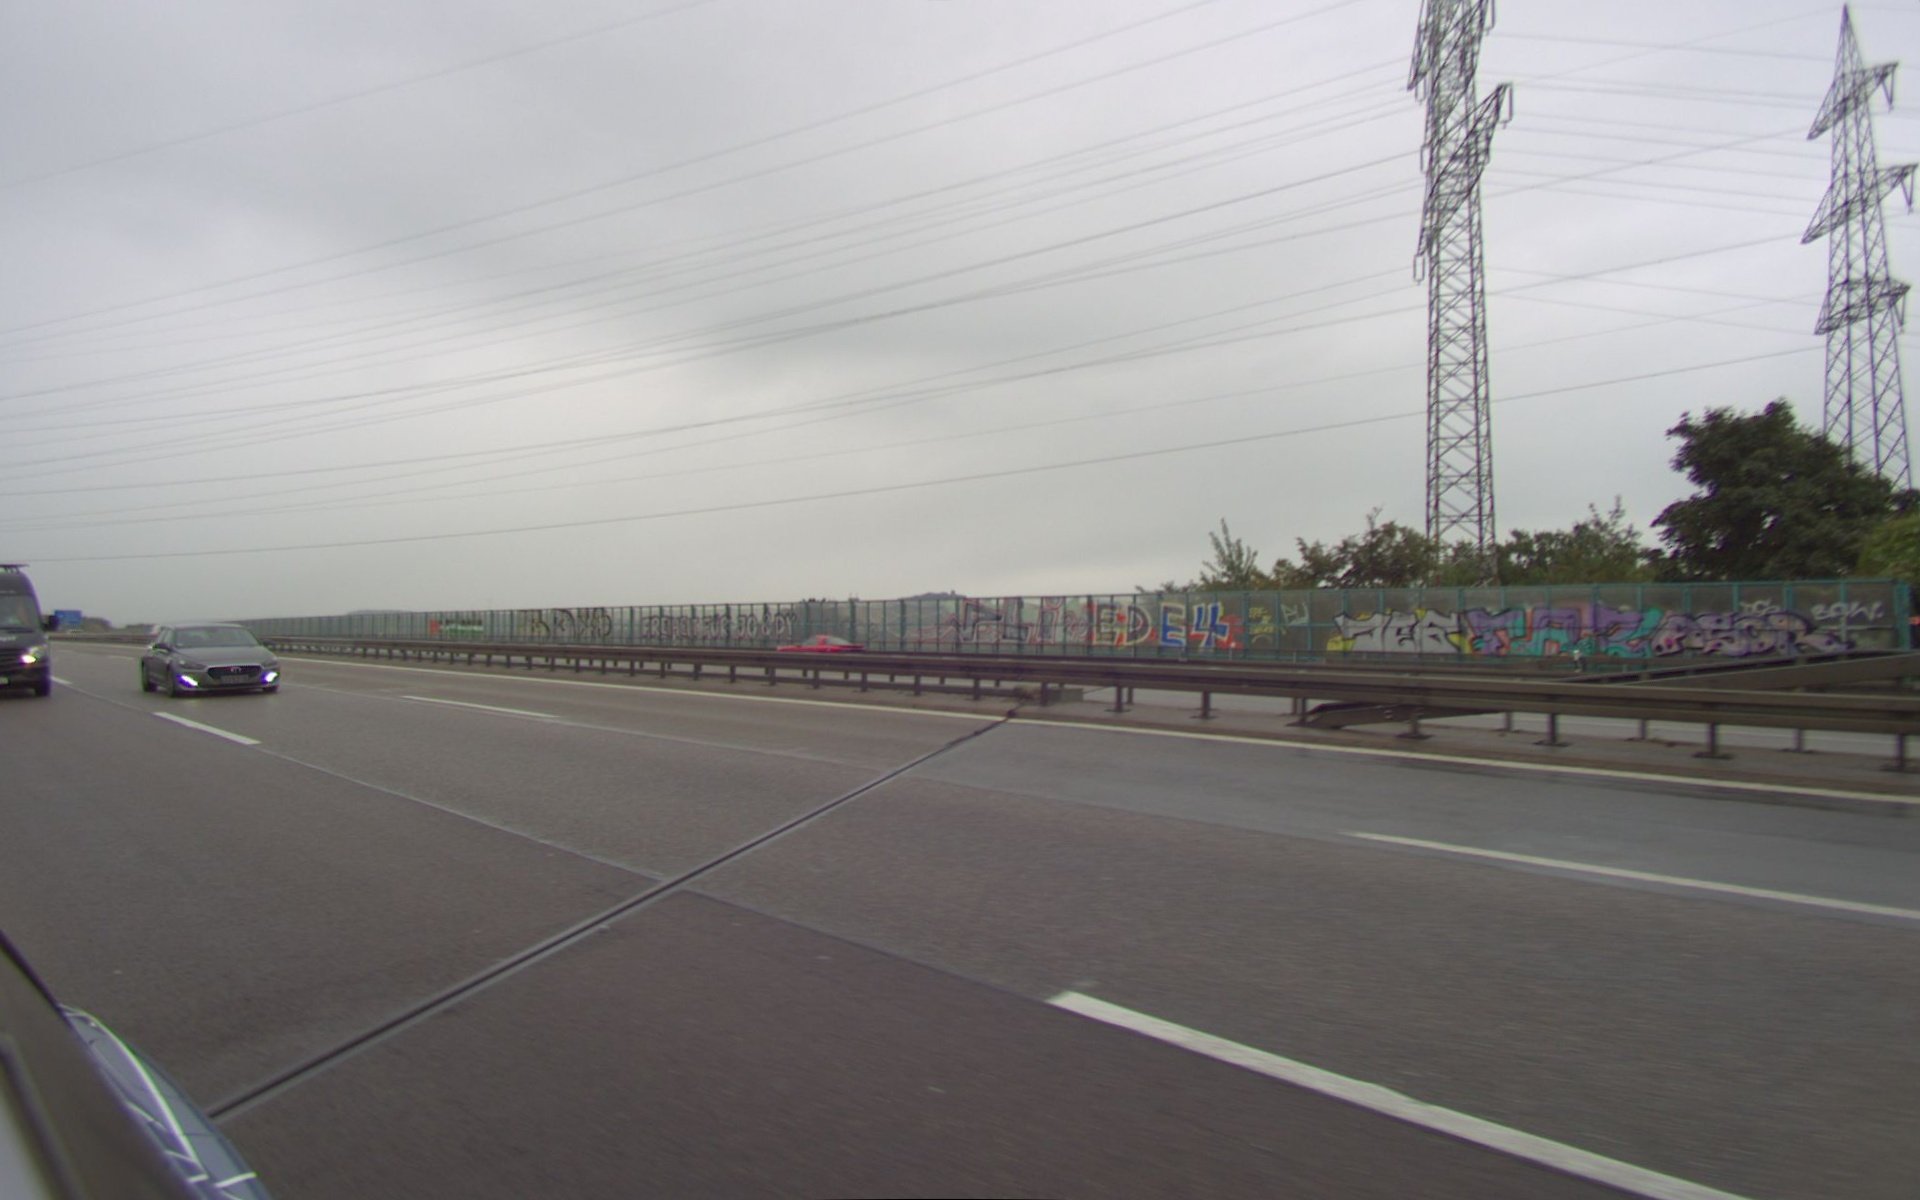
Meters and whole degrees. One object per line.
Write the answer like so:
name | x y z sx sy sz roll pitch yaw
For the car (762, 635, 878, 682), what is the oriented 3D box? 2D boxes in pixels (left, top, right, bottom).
car | -5.901 2.392 42.365 5.104 1.797 1.973 -2 -2 41

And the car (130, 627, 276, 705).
car | -15.843 1.338 21.080 4.830 1.413 1.706 -3 -2 44

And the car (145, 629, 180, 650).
car | -83.199 4.132 105.556 5.009 2.029 1.973 -1 0 41

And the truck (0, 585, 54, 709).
truck | -20.737 0.900 21.097 6.107 2.355 1.973 0 -1 41
